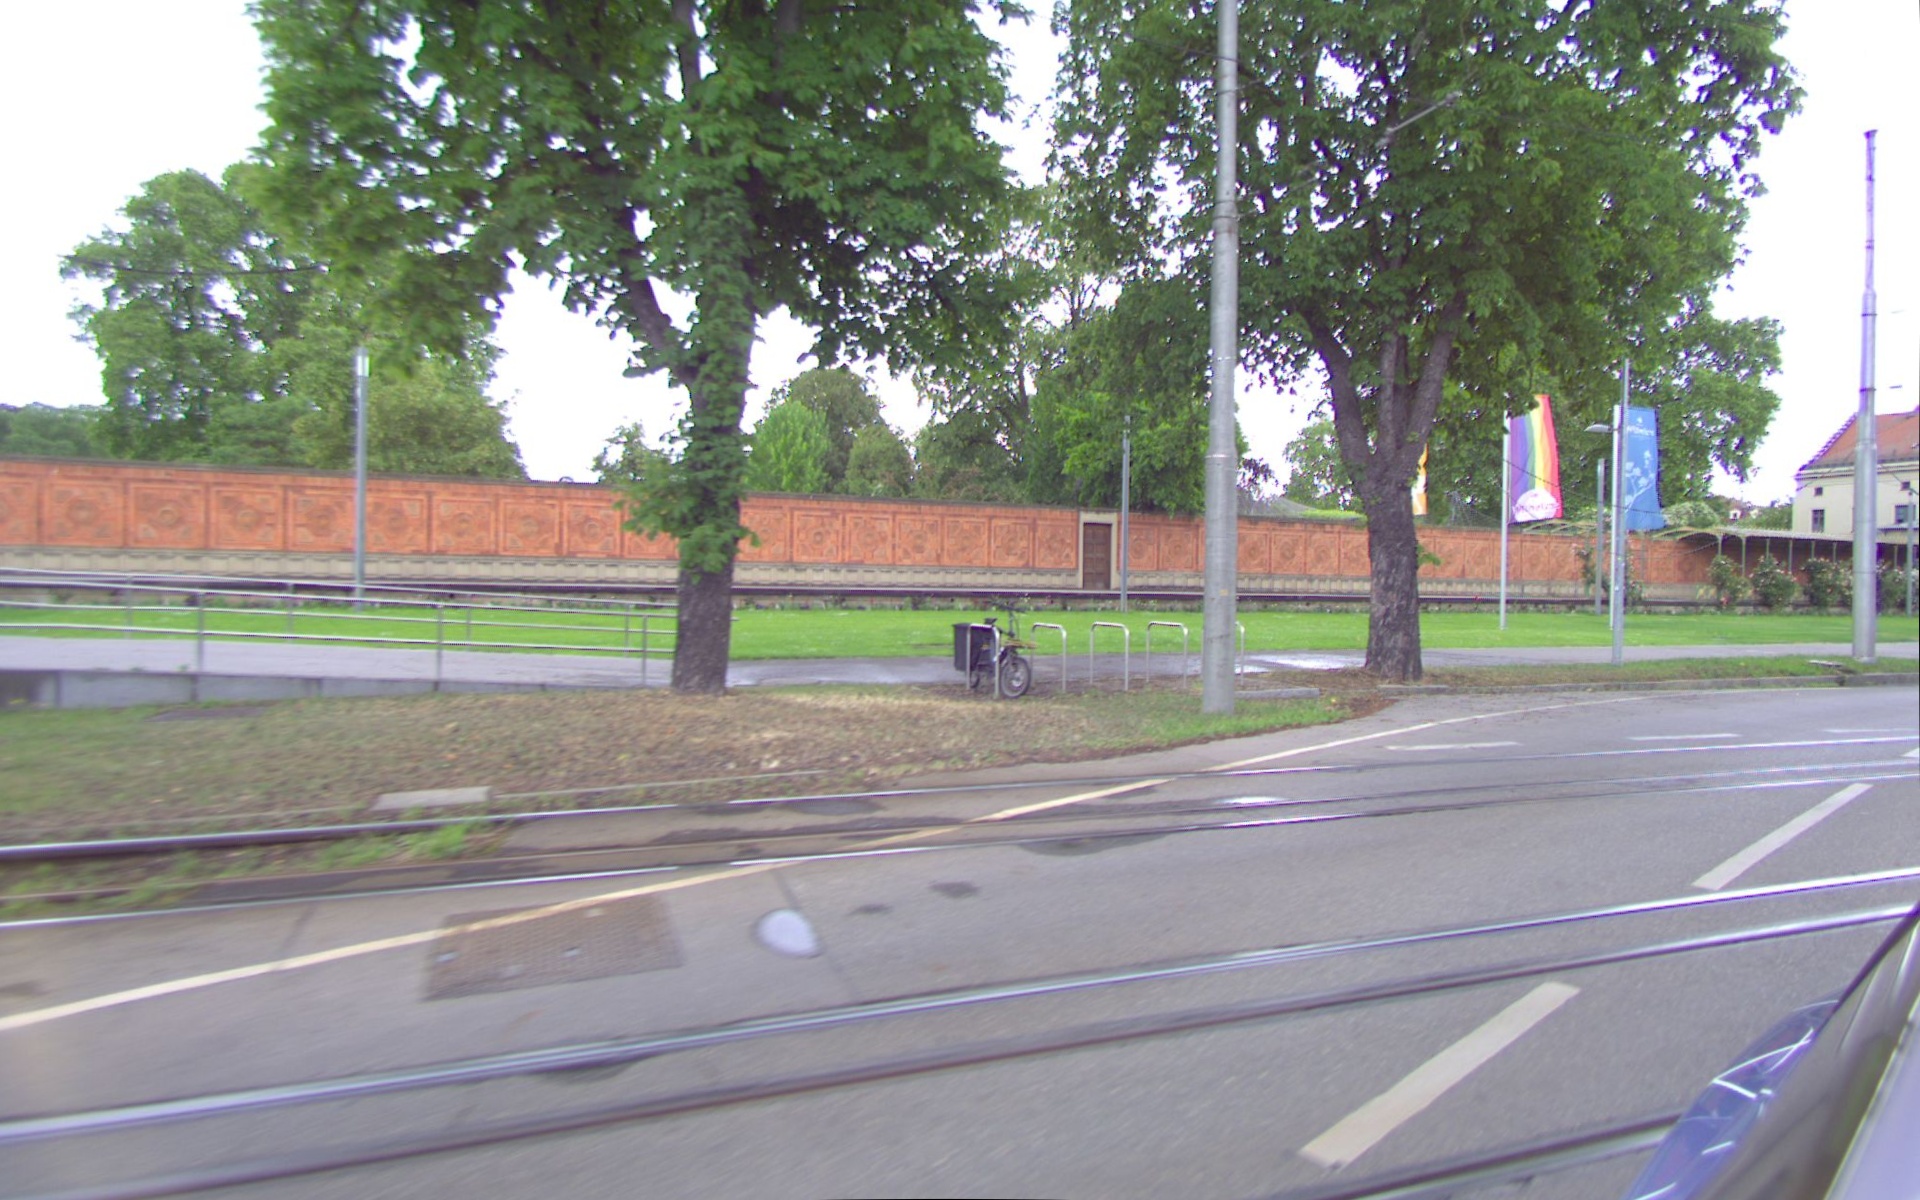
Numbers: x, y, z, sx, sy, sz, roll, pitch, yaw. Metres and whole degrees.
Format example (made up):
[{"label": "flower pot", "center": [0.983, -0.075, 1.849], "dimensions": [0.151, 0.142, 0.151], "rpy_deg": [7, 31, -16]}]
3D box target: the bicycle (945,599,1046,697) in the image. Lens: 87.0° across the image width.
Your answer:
[{"label": "bicycle", "center": [0.433, 0.594, 13.613], "dimensions": [0.725, 1.172, 2.002], "rpy_deg": [0, 1, -17]}]
